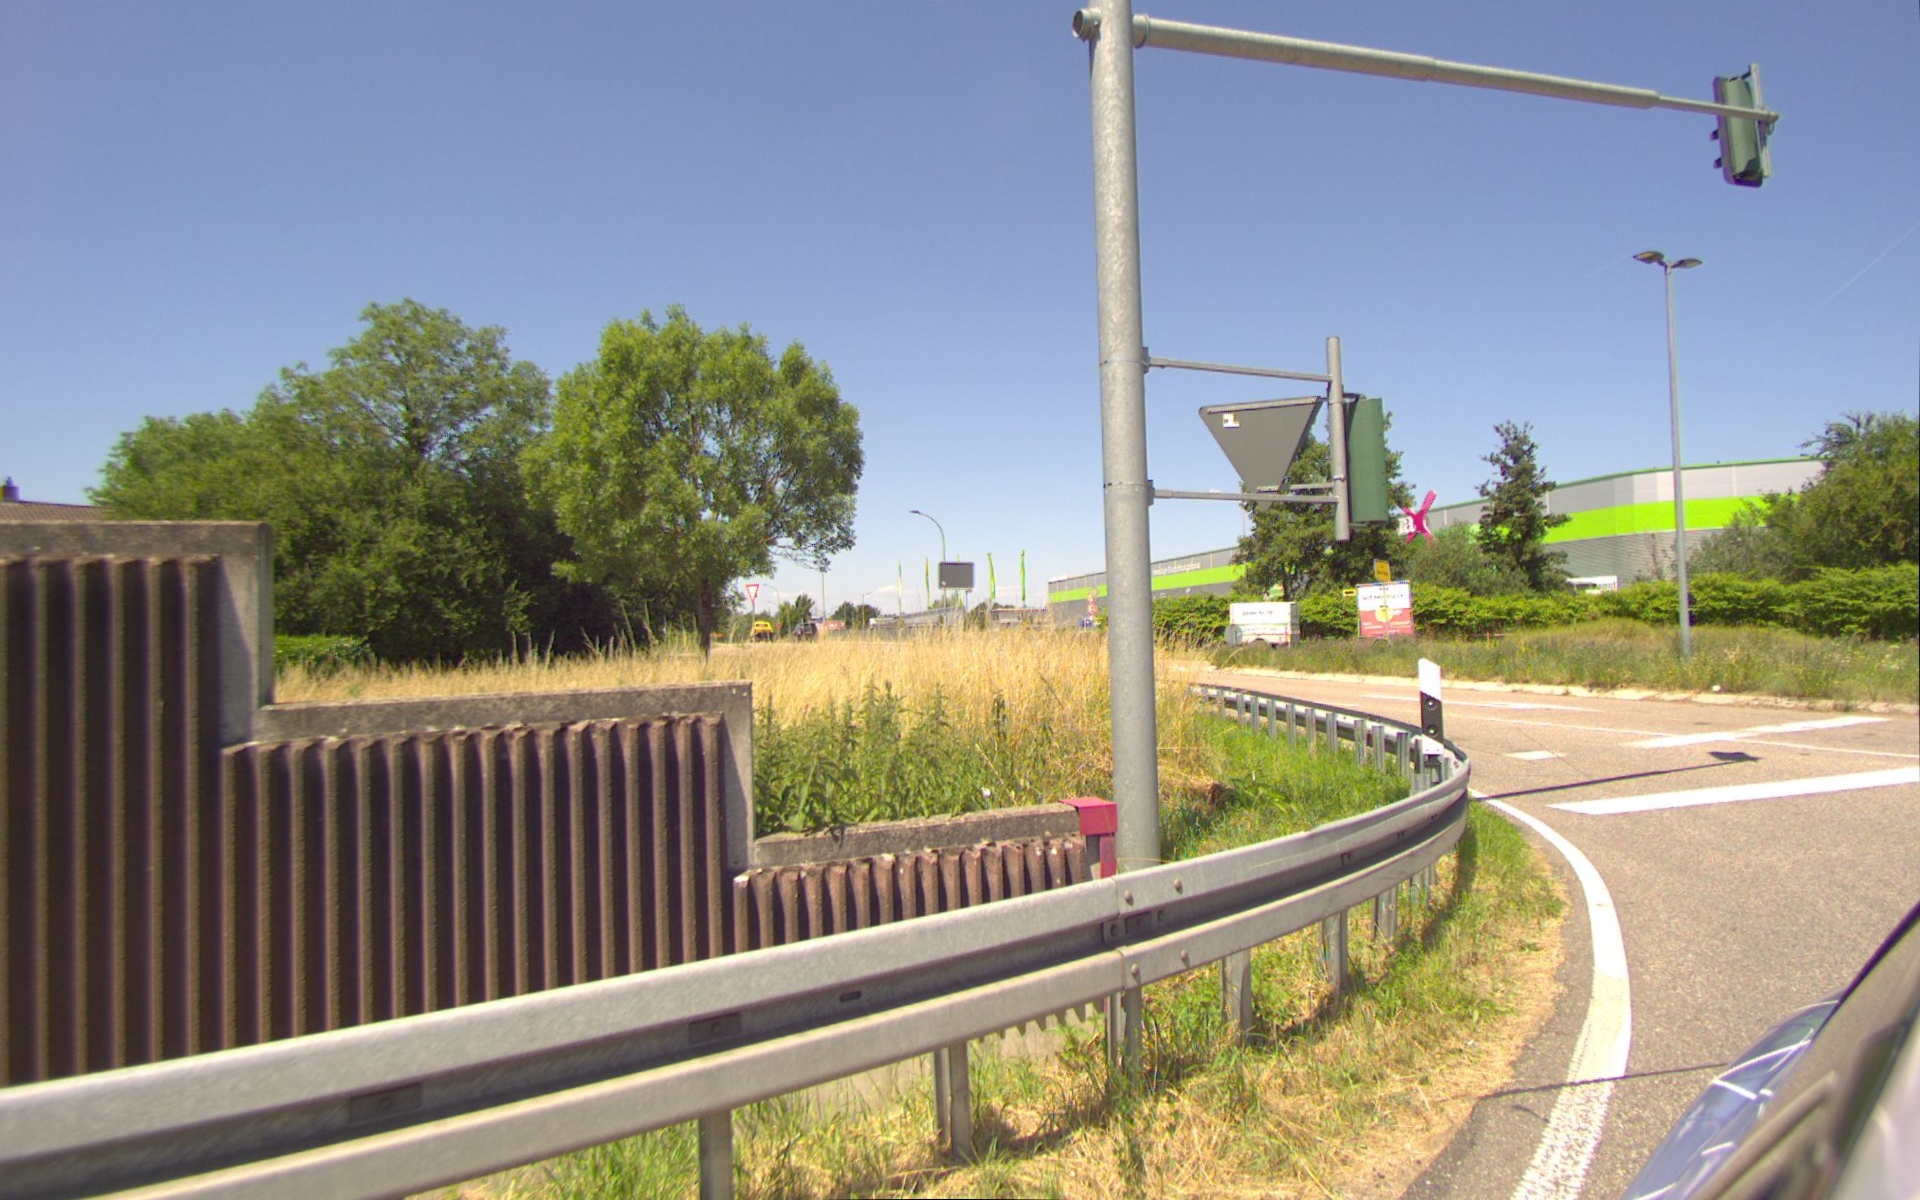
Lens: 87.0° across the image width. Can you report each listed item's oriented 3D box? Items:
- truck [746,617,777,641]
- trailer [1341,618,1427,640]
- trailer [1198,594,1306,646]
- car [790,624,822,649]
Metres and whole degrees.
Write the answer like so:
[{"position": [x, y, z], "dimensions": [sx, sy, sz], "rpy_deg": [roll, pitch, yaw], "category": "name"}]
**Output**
[{"position": [-21.252, 3.053, 107.829], "dimensions": [2.269, 2.368, 9.067], "rpy_deg": [1, -1, -17], "category": "truck"}, {"position": [16.734, 1.143, 39.959], "dimensions": [2.833, 0.748, 1.546], "rpy_deg": [-2, 0, 35], "category": "trailer"}, {"position": [12.291, 0.862, 42.687], "dimensions": [3.933, 2.039, 1.833], "rpy_deg": [-2, -1, 36], "category": "trailer"}, {"position": [-12.223, 2.870, 80.335], "dimensions": [1.868, 1.723, 4.009], "rpy_deg": [1, 1, -18], "category": "car"}]
